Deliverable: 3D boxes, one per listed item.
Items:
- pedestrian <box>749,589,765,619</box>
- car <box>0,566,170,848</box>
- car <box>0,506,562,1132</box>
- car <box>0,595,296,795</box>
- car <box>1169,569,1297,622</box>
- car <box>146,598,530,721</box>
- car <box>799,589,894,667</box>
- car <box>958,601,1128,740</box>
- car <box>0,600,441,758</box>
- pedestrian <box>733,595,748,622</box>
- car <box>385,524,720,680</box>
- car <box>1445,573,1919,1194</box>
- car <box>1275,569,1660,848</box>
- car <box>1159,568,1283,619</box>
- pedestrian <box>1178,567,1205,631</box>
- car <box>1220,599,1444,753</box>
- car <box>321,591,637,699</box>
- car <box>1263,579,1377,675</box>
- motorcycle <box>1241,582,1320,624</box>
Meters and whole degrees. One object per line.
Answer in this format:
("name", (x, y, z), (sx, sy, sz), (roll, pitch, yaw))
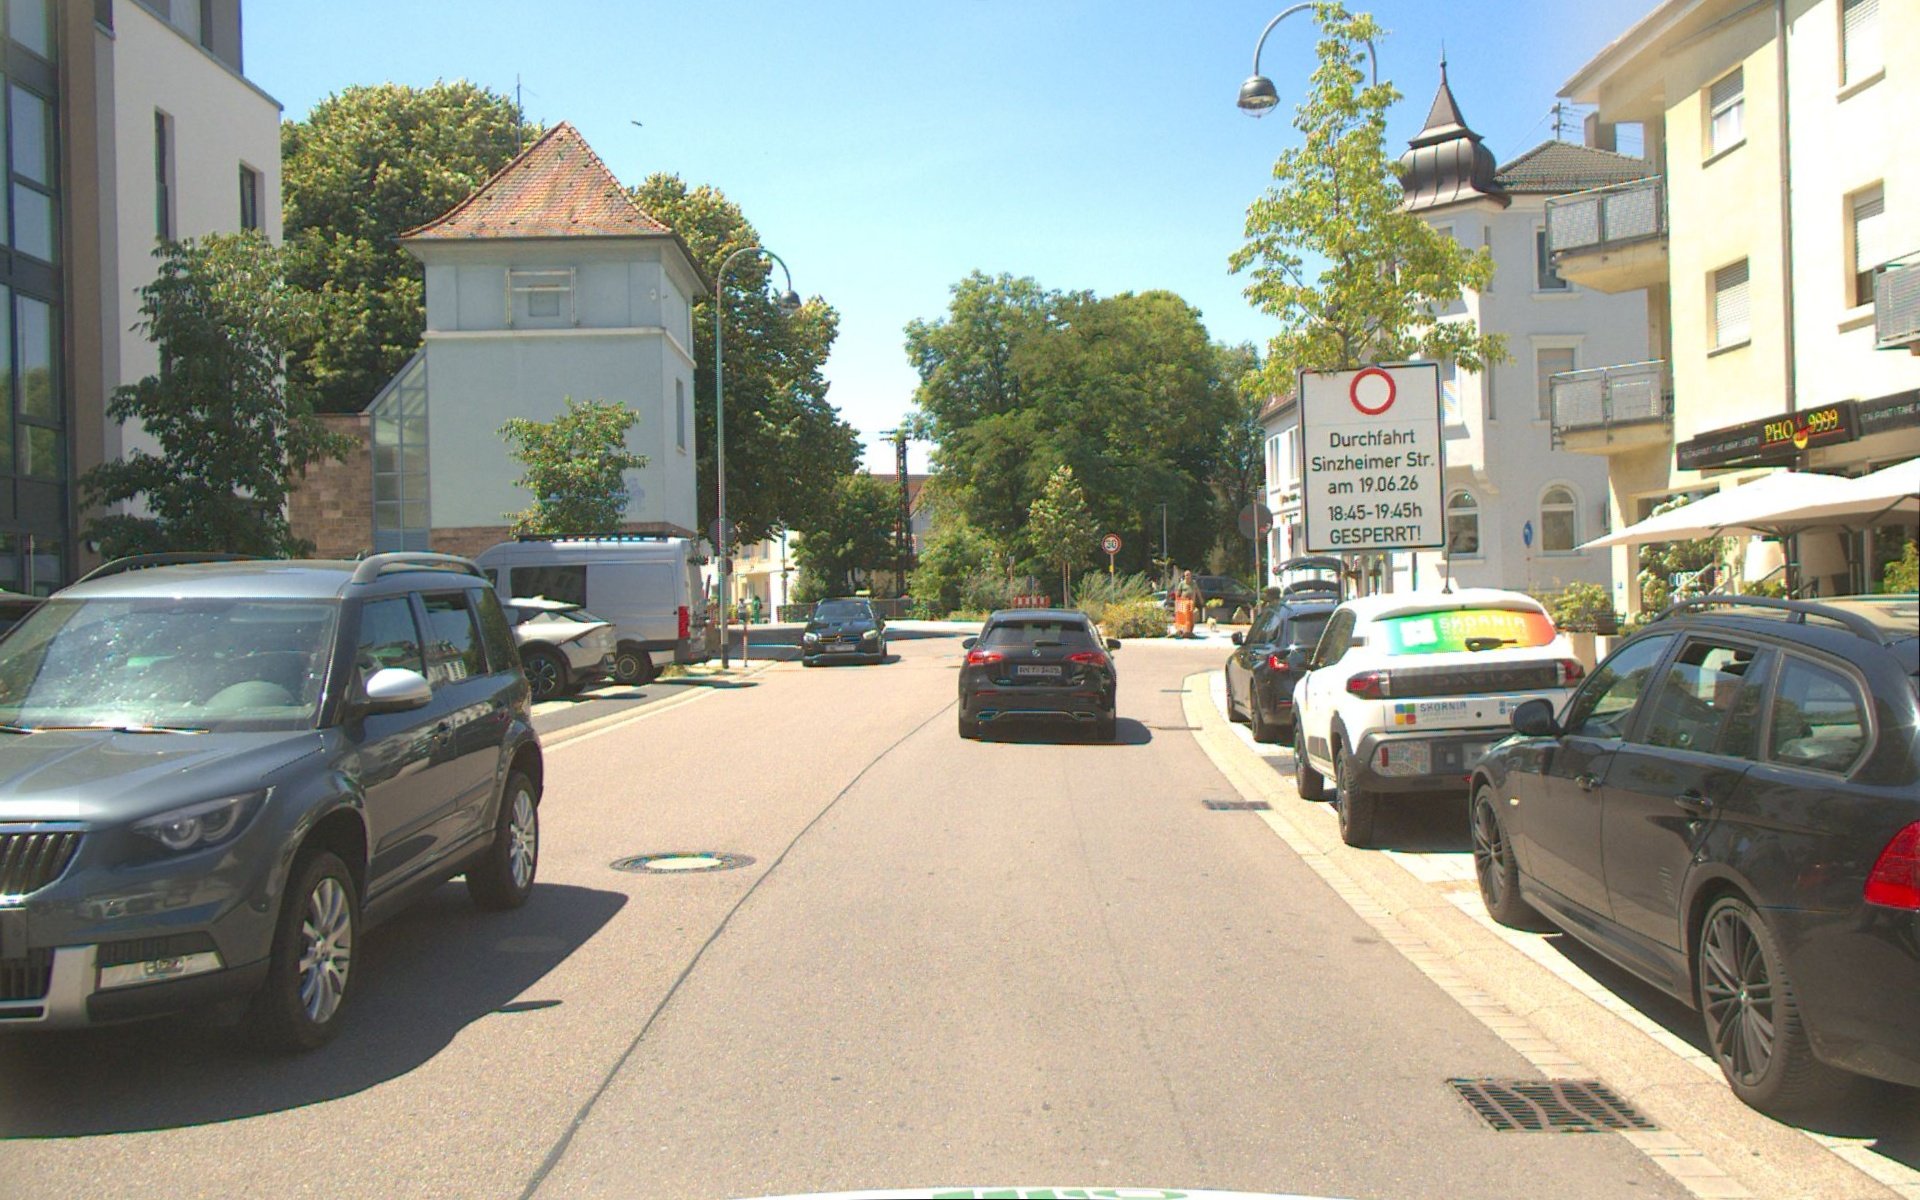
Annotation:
("pedestrian", (-12.282, 0.226, 100.062), (0.657, 1.772, 0.691), (-1, -1, -43))
("car", (-7.652, 0.639, 10.858), (3.948, 1.680, 2.000), (0, -1, 2))
("car", (-2.944, 0.621, 6.616), (1.774, 1.731, 4.075), (0, 0, -1))
("car", (-7.878, 0.727, 13.668), (3.948, 1.523, 2.000), (0, -1, 2))
("car", (9.183, -0.148, 55.804), (3.993, 1.746, 1.855), (0, -1, -2))
("car", (-7.681, 0.720, 20.754), (4.117, 1.463, 1.884), (0, -1, -4))
("car", (-2.579, 0.592, 38.490), (1.855, 1.580, 4.798), (-2, 1, -1))
("car", (1.050, 0.817, 19.619), (1.789, 1.467, 4.002), (-1, -2, 5))
("car", (-7.450, 0.737, 16.363), (3.948, 1.455, 2.000), (0, -1, 2))
("pedestrian", (-13.352, 0.512, 100.575), (0.607, 1.641, 0.829), (-1, -1, -30))
("car", (-7.500, 0.044, 30.915), (5.648, 2.780, 2.291), (0, -1, 1))
("car", (3.225, 0.672, 5.873), (1.795, 1.508, 4.096), (-3, -1, 1))
("car", (3.310, 0.647, 11.586), (1.701, 1.512, 4.056), (-4, -1, 5))
("car", (9.074, -0.217, 57.661), (3.993, 1.746, 1.855), (0, -1, -2))
("pedestrian", (6.833, -0.035, 48.873), (0.730, 1.827, 0.844), (-1, 1, 7))
("car", (3.972, 0.752, 18.373), (1.688, 1.430, 4.611), (-2, -1, 4))
("car", (-7.465, 0.683, 26.010), (4.362, 1.619, 2.000), (0, -1, 0))
("car", (6.605, 0.444, 30.192), (1.832, 1.517, 3.865), (-3, 1, 13))
("motorcycle", (10.134, 0.086, 52.368), (2.328, 1.297, 0.856), (-1, 0, -1))
